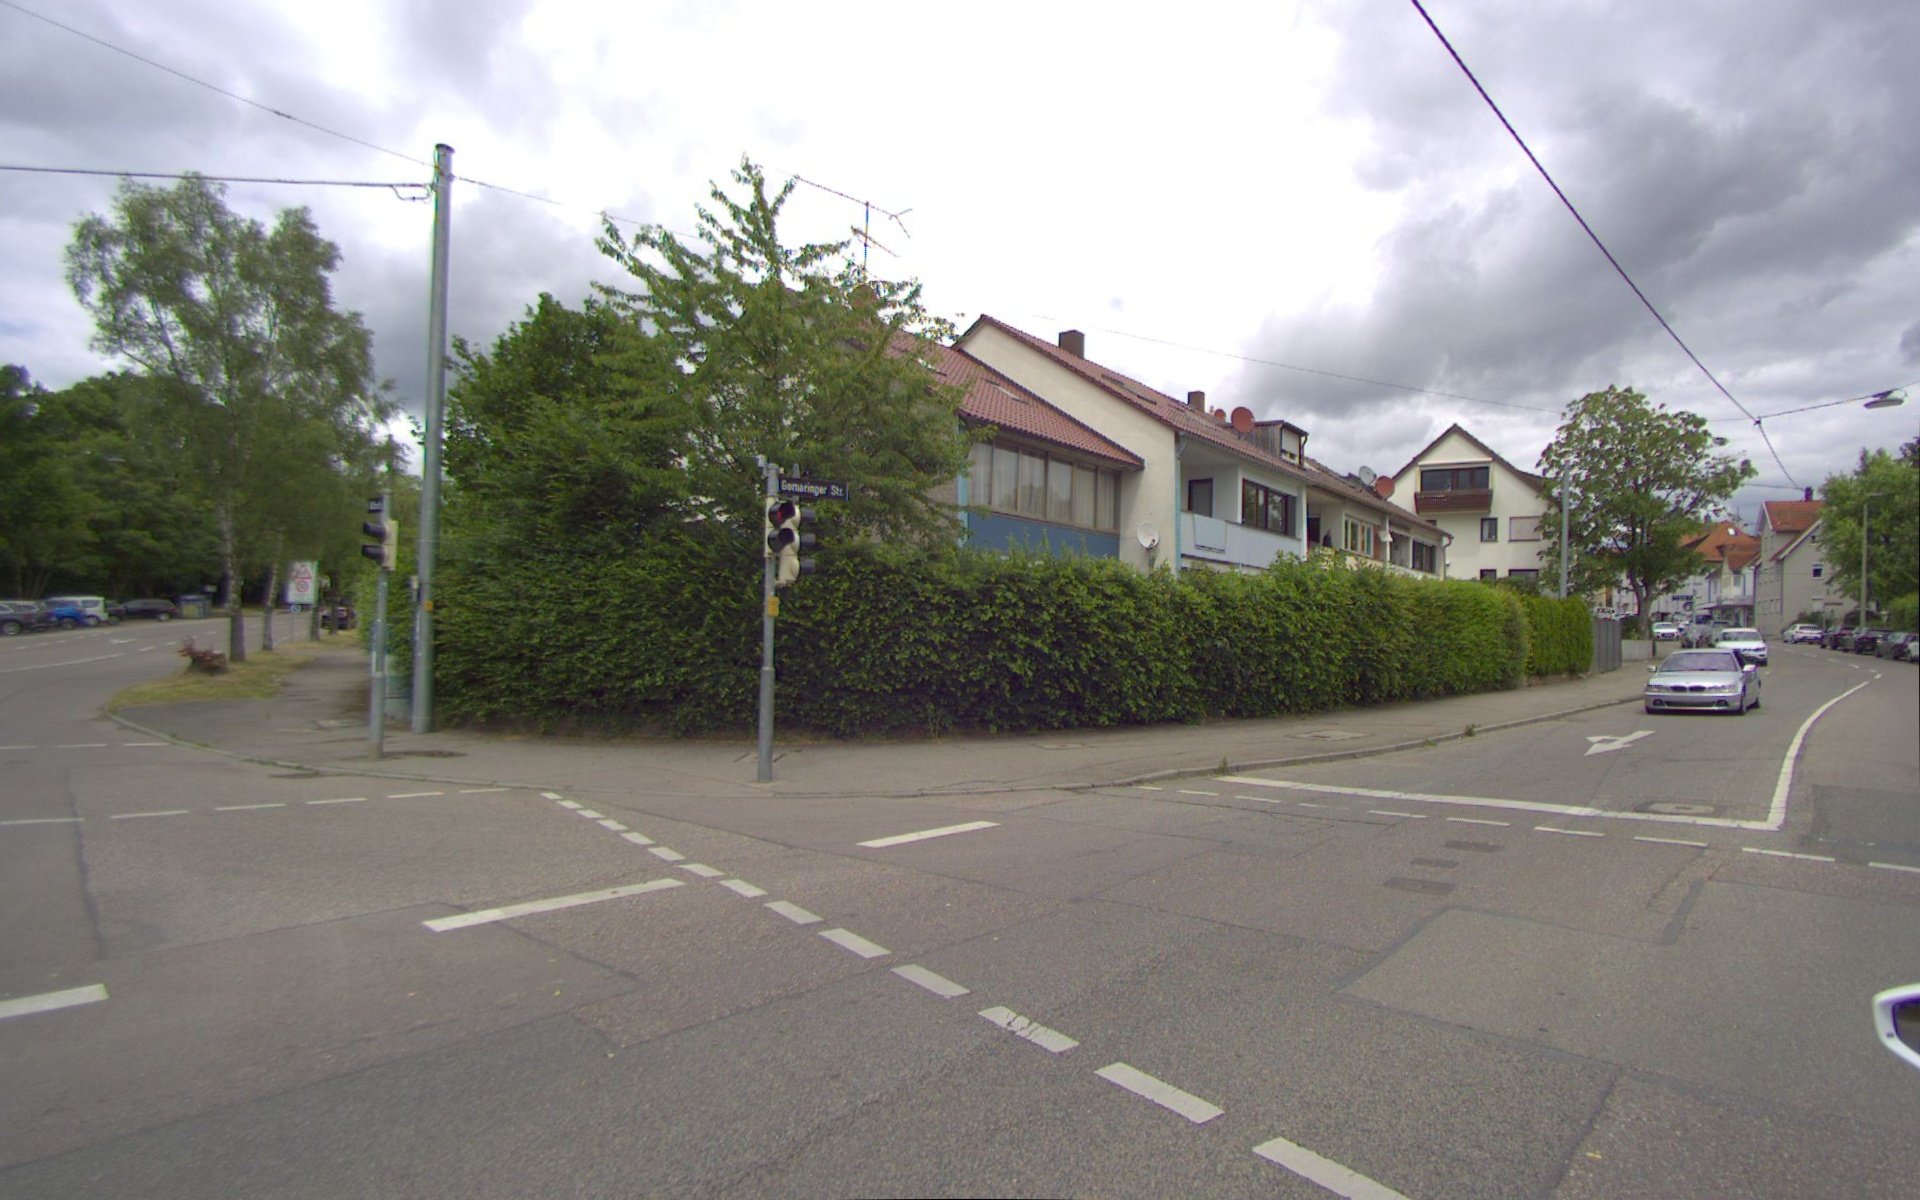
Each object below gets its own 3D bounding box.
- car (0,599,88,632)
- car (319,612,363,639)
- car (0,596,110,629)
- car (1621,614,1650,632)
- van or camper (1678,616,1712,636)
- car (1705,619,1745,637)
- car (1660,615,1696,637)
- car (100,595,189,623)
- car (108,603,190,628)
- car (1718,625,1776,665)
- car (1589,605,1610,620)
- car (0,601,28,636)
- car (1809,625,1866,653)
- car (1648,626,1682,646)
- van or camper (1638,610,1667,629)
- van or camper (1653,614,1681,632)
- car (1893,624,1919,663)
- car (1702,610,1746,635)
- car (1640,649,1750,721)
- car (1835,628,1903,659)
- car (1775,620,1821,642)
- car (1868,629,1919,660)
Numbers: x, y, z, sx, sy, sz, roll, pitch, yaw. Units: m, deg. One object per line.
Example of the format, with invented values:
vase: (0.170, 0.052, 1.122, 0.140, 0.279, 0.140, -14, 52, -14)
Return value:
car: (-46.859, 0.780, 50.822, 3.974, 1.505, 1.894, 4, -2, -44)
car: (-45.028, 1.822, 73.147, 1.949, 1.630, 4.394, 5, 0, -23)
car: (-49.451, 0.720, 54.833, 1.970, 1.630, 4.398, 1, -2, 41)
car: (79.096, 2.659, 117.635, 2.118, 2.040, 3.997, 2, 1, 24)
van or camper: (78.550, 2.760, 107.414, 1.896, 1.951, 4.827, 2, 1, 25)
car: (73.905, 2.689, 97.089, 1.962, 1.538, 4.887, 3, 1, 25)
car: (72.379, 2.618, 101.296, 2.118, 2.040, 3.997, 2, 1, 24)
car: (-53.255, 0.621, 65.655, 4.385, 1.630, 1.976, 3, -2, -41)
car: (-58.202, 1.138, 72.161, 4.376, 1.630, 1.980, 3, -2, -36)
car: (36.252, 2.029, 46.347, 1.825, 1.737, 4.560, -1, -2, 35)
car: (96.124, 1.860, 150.996, 2.118, 2.040, 3.997, 2, 1, 24)
car: (-43.277, 0.736, 43.682, 3.974, 1.505, 1.894, 4, -2, -44)
car: (56.184, 2.458, 64.397, 1.784, 1.637, 4.531, 3, 0, 30)
car: (57.074, 2.934, 81.354, 1.700, 1.477, 3.893, -3, -2, 28)
van or camper: (86.445, 2.428, 125.444, 1.962, 2.093, 5.939, 3, 1, 25)
van or camper: (83.103, 2.666, 118.131, 1.842, 1.853, 4.676, 3, 1, 25)
car: (47.186, 2.158, 48.617, 1.810, 1.798, 4.310, 3, 2, 28)
car: (65.847, 1.936, 86.624, 2.118, 2.040, 3.997, 2, 1, 24)
car: (16.309, 1.816, 22.210, 1.692, 1.372, 4.064, 1, -2, 40)
car: (53.460, 2.529, 59.148, 1.964, 1.637, 4.531, 3, 0, 30)
car: (61.842, 2.231, 74.169, 1.912, 1.458, 3.992, 2, 1, 30)
car: (50.088, 2.350, 53.223, 1.964, 1.498, 4.612, 1, -1, 30)
